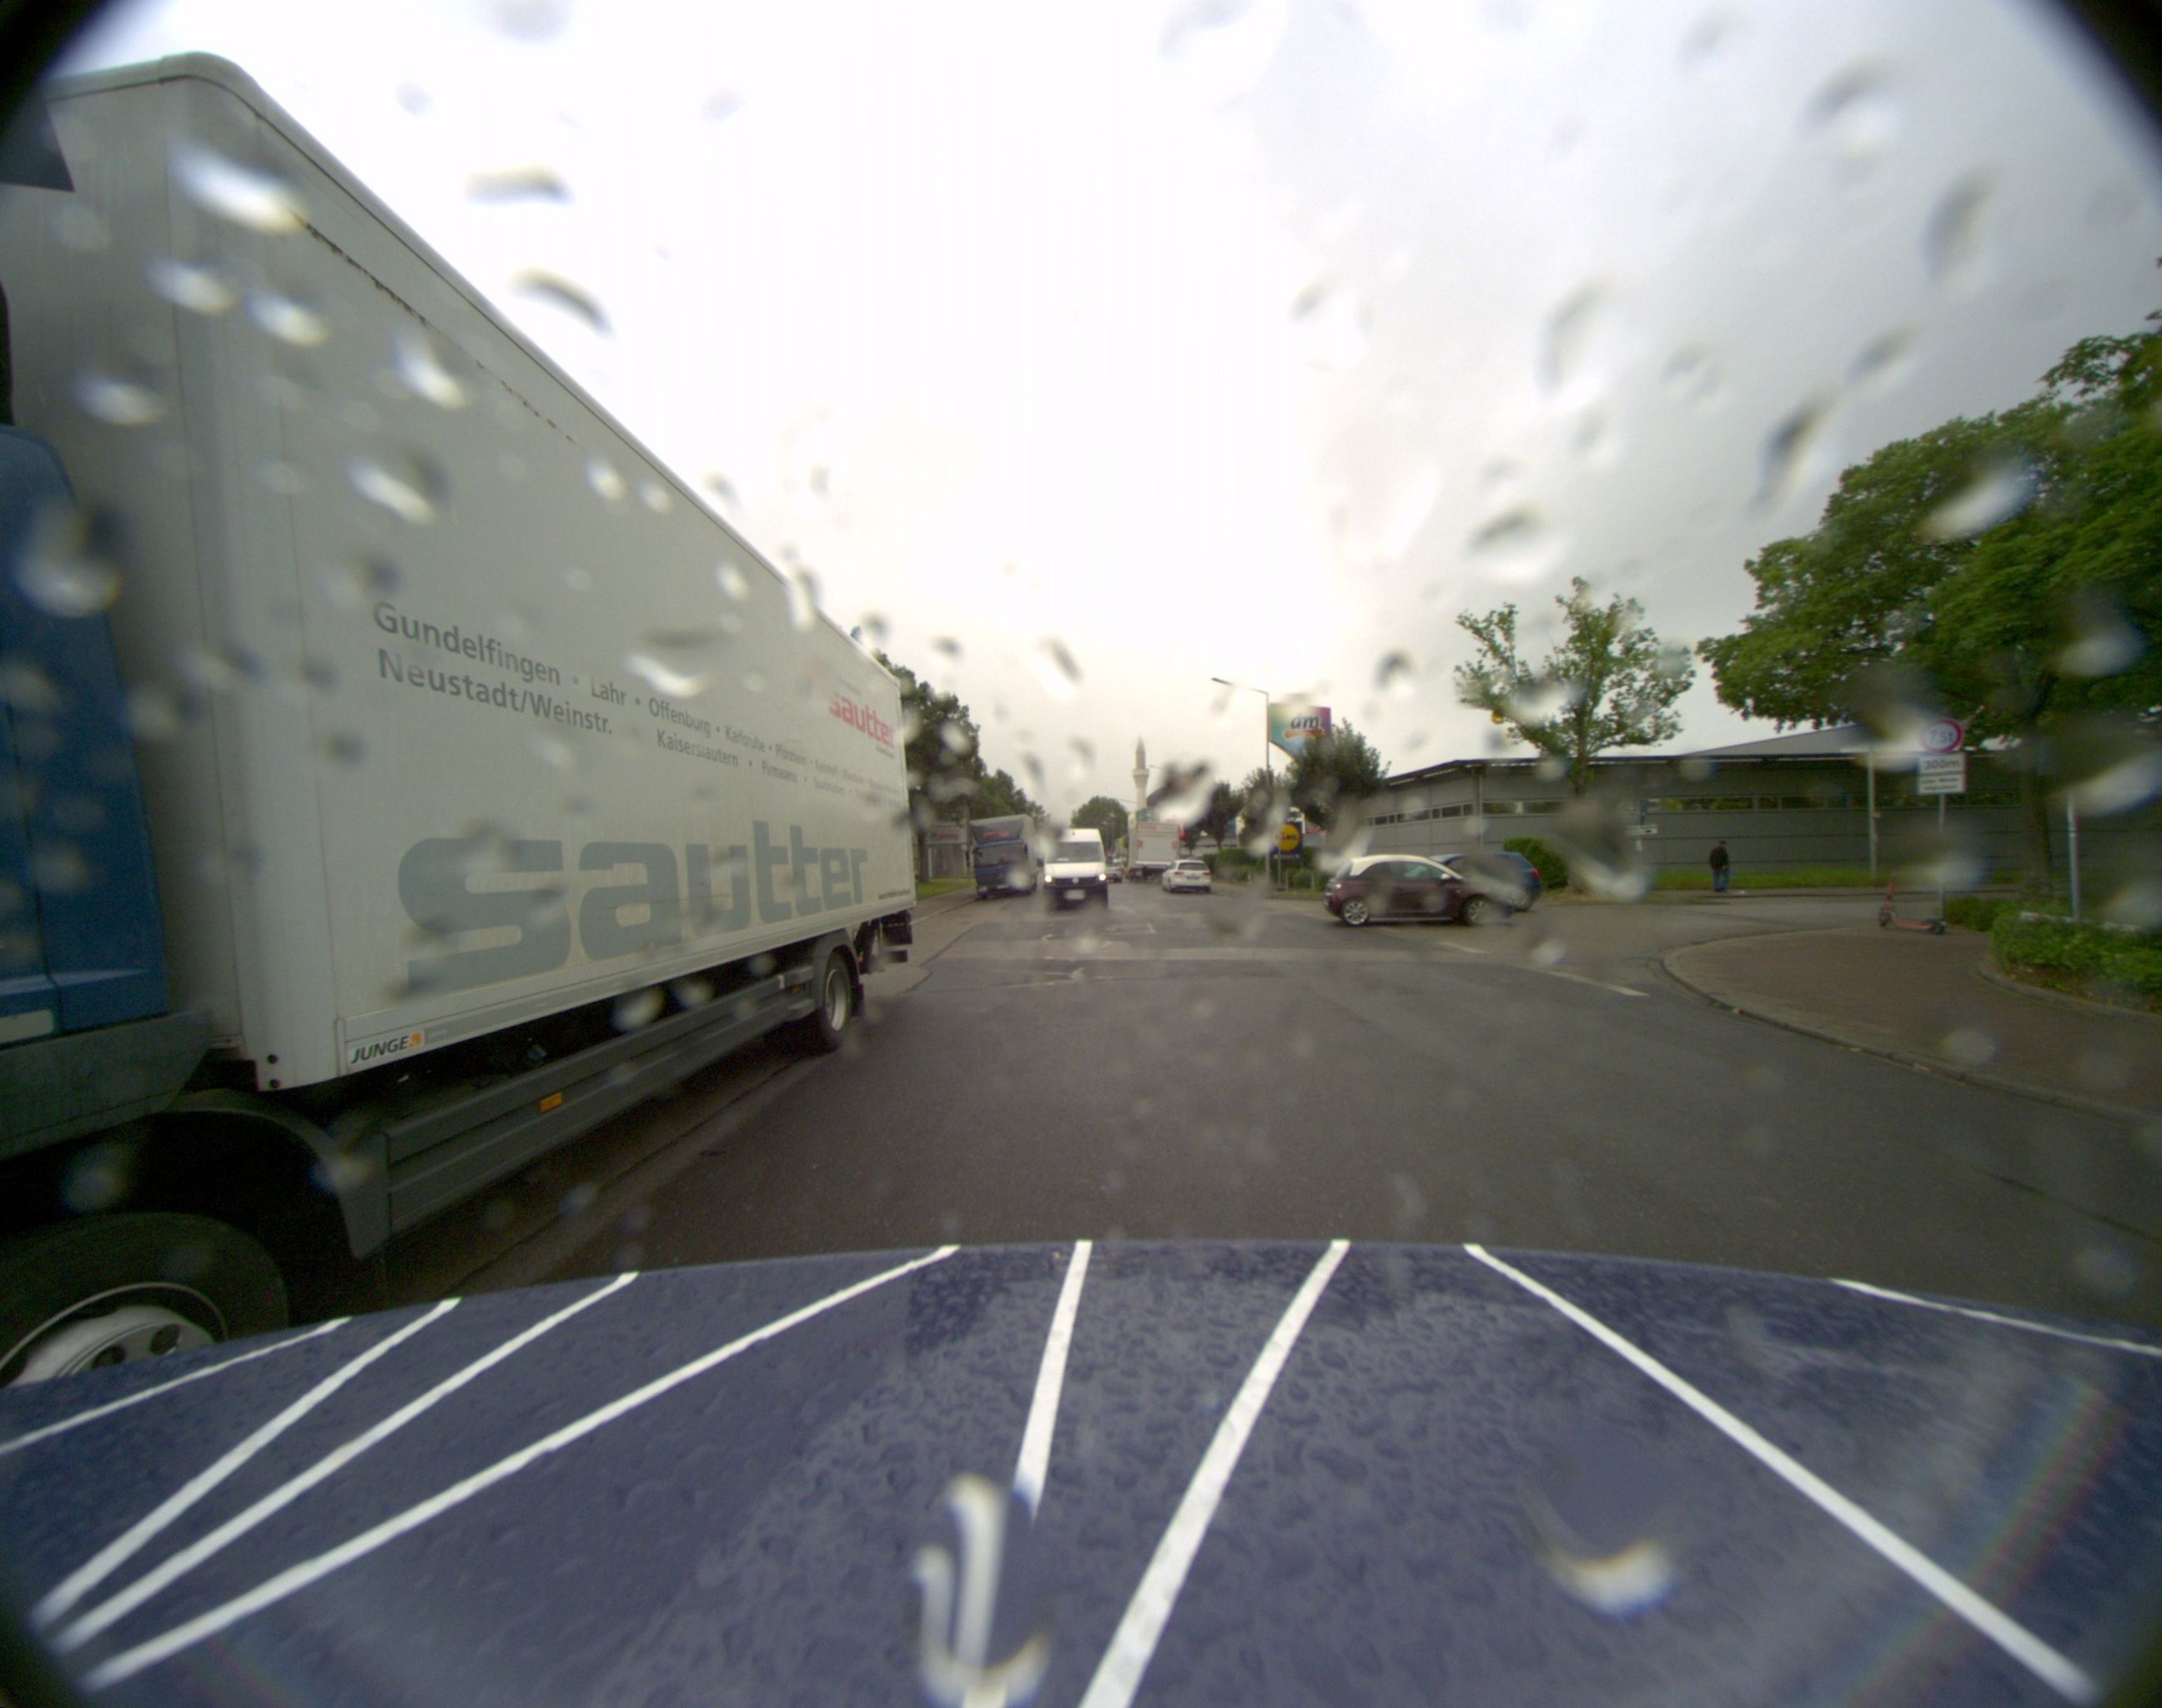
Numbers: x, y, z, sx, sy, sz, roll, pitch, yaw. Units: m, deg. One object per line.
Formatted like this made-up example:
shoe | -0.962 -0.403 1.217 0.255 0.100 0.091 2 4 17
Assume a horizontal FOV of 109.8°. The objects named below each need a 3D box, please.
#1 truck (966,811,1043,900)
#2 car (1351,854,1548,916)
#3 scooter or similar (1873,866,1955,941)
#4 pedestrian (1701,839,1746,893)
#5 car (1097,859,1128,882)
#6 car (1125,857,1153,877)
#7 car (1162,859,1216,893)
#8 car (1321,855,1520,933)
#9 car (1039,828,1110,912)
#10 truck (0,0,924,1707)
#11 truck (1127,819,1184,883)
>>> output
truck | -3.483 0.074 36.571 2.678 3.670 8.008 -4 0 0
car | 8.917 0.728 18.614 3.997 1.432 1.736 0 0 -1
scooter or similar | 13.724 0.791 12.541 0.284 1.169 1.060 -1 0 7
pedestrian | 20.408 0.373 24.136 0.782 1.664 0.758 -1 0 -3
car | 1.989 1.026 49.151 1.735 1.432 4.000 0 0 -1
car | 4.395 0.986 57.856 1.692 1.457 3.512 -1 0 -2
car | 4.855 0.938 34.727 1.840 1.426 4.491 0 0 0
car | 6.918 0.783 15.851 3.571 1.447 1.639 0 2 15
car | -0.136 0.474 25.353 2.085 2.466 5.347 -1 0 1
truck | -3.434 -0.059 4.608 2.748 3.767 9.299 -4 0 0
truck | 4.667 -0.169 49.068 2.889 3.724 7.867 -1 0 1
